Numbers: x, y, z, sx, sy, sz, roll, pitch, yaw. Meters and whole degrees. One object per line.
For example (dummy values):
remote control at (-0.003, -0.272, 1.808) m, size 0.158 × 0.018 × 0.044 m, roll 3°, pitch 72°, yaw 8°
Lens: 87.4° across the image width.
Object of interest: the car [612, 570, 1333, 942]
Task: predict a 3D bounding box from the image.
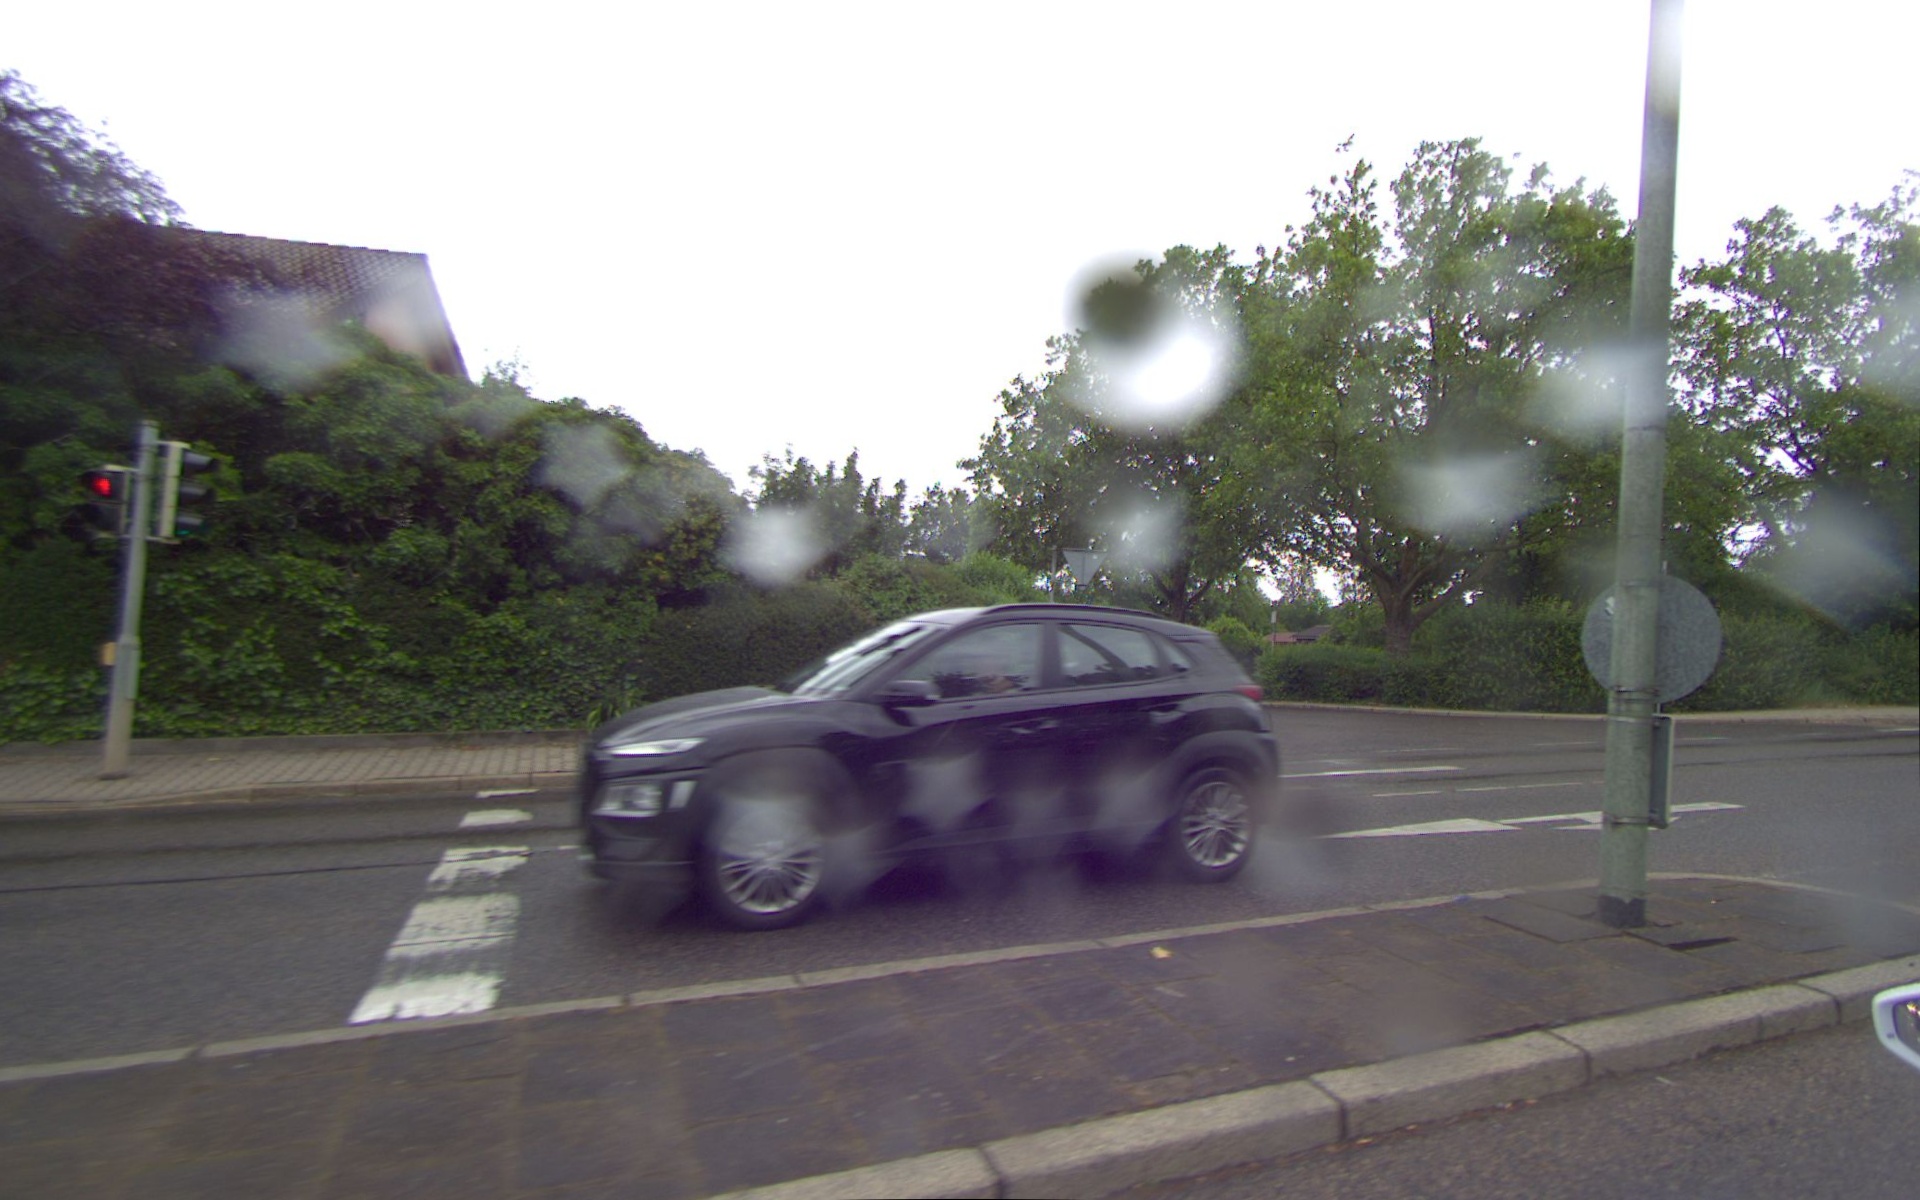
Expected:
car at (0.017, 0.743, 5.993) m, size 3.822 × 1.583 × 2.021 m, roll 1°, pitch -2°, yaw -23°
